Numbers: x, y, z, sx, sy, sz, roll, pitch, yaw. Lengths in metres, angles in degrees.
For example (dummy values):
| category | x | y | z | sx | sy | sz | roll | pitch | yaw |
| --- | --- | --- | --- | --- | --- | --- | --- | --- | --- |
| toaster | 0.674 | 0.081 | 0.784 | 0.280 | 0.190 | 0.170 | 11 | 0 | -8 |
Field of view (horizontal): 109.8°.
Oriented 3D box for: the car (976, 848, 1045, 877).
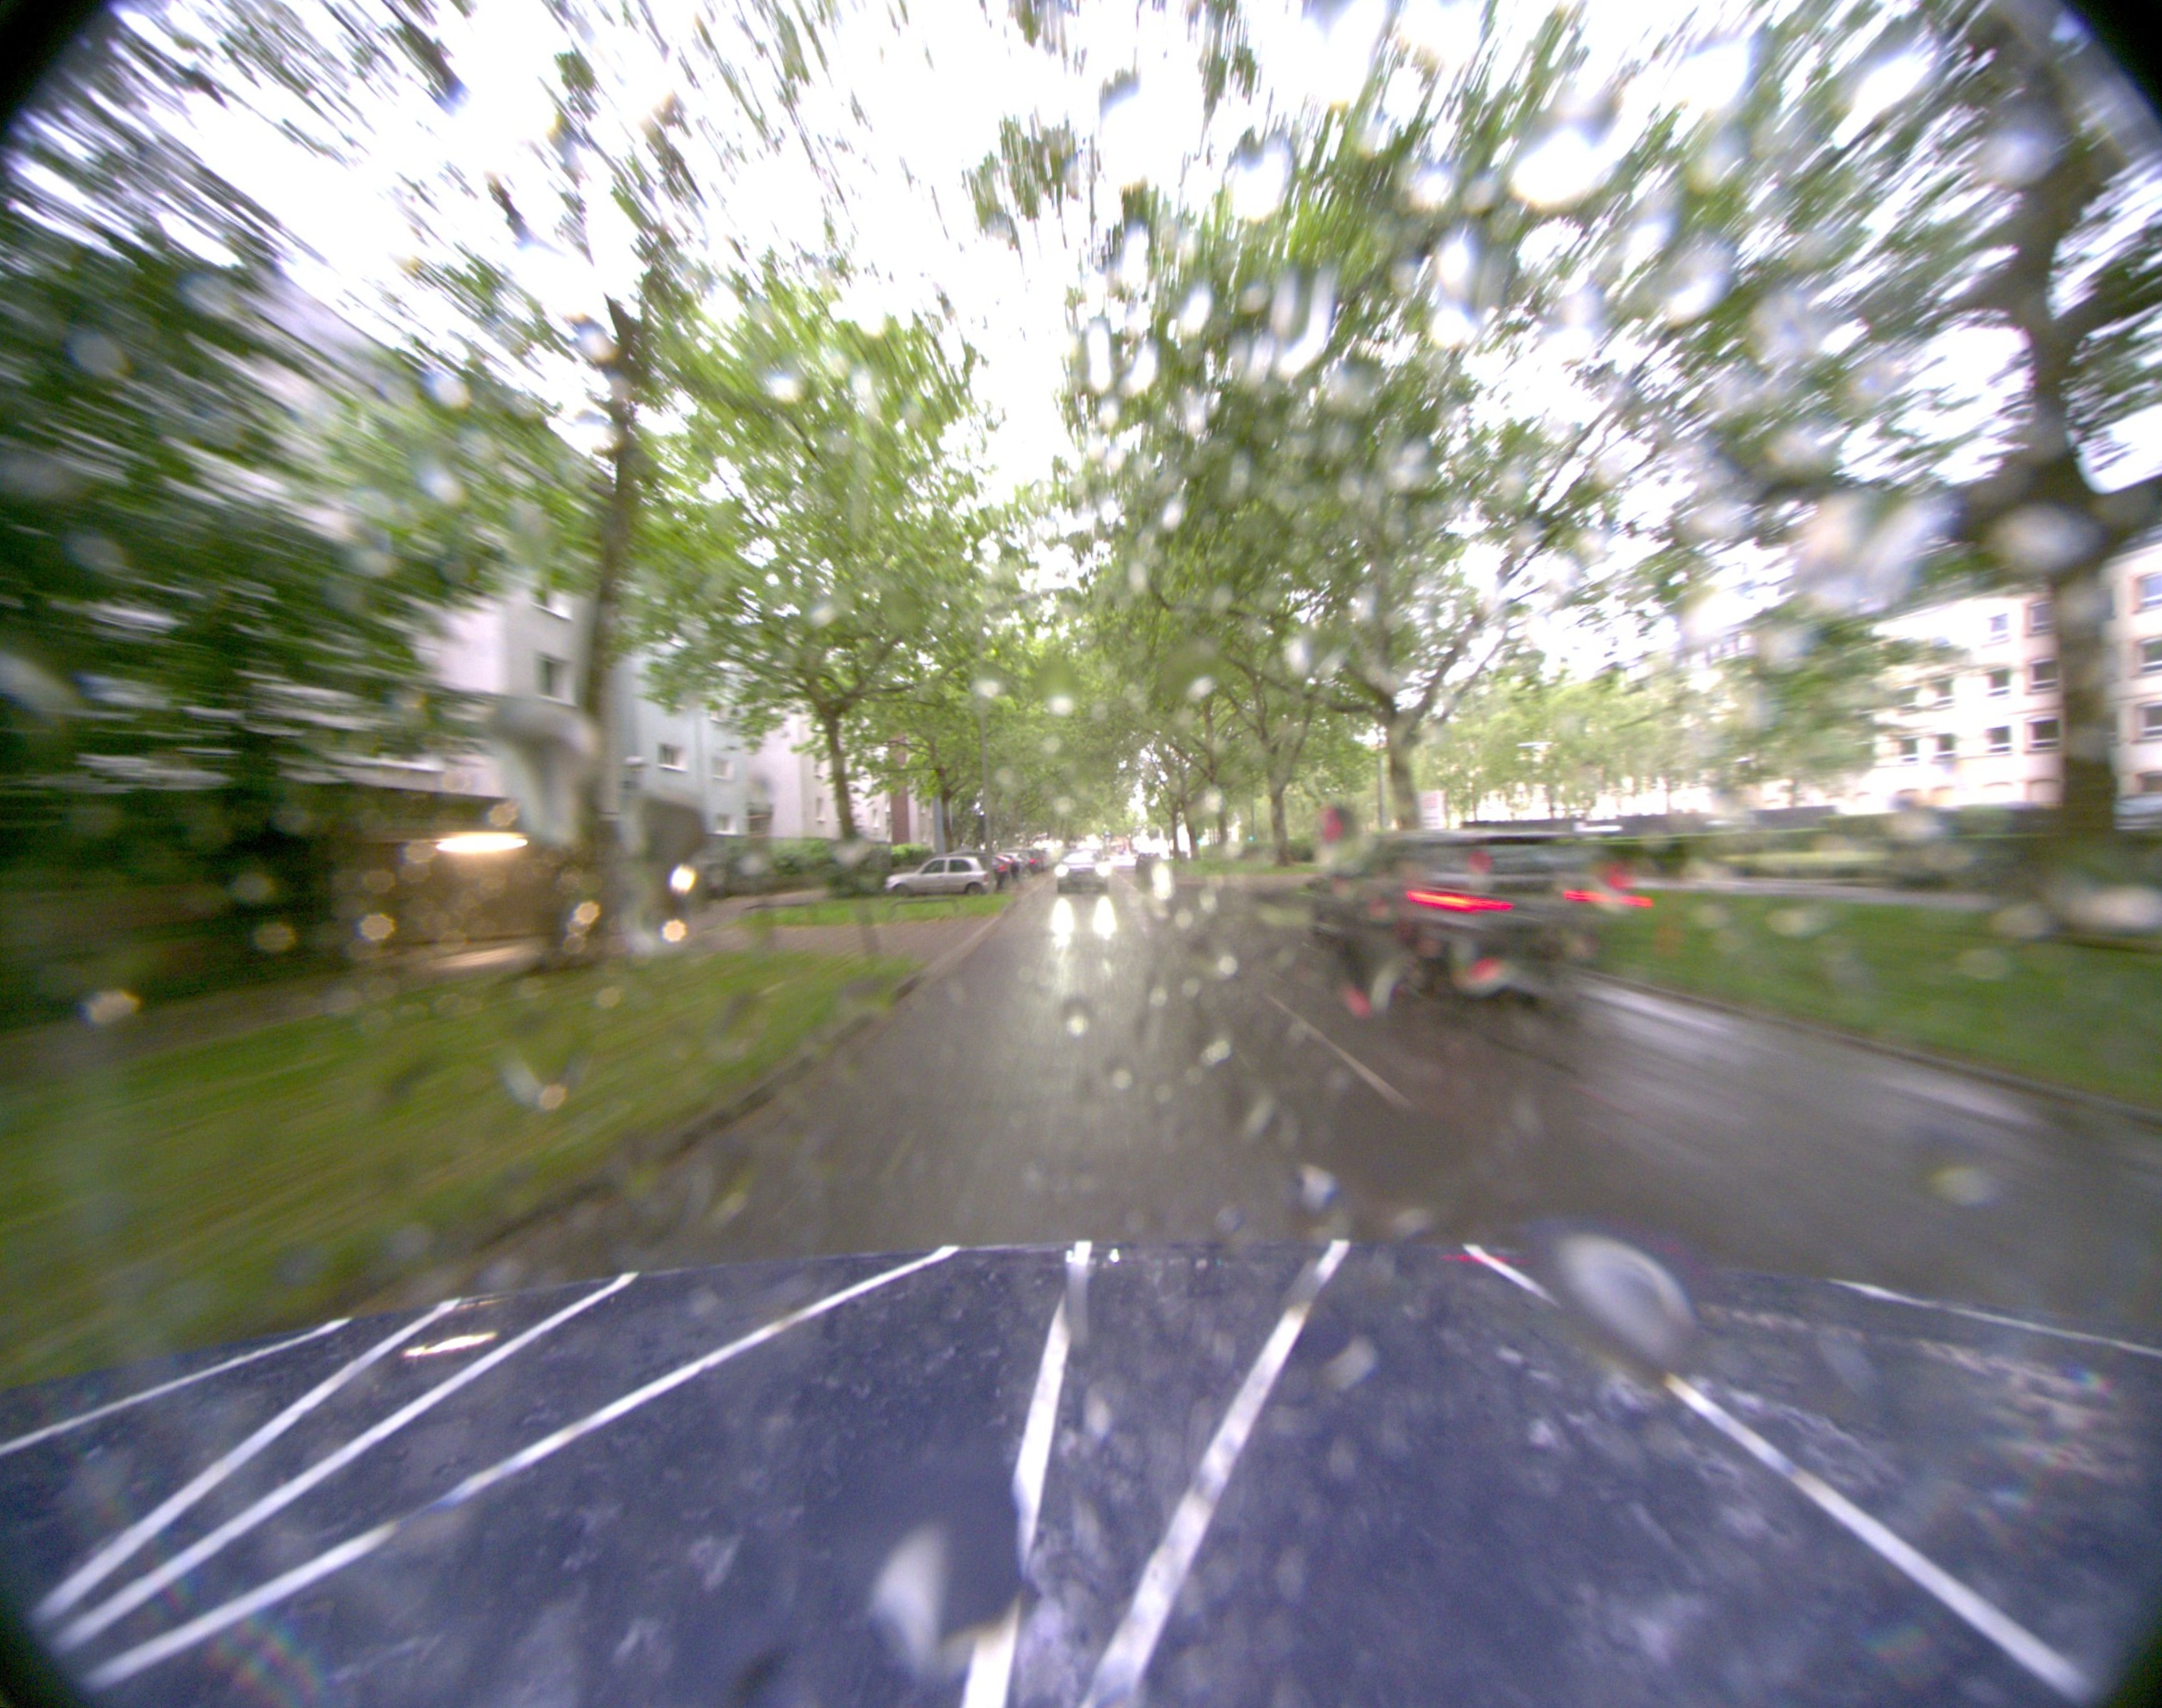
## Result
| category | x | y | z | sx | sy | sz | roll | pitch | yaw |
| --- | --- | --- | --- | --- | --- | --- | --- | --- | --- |
| car | -4.284 | 0.508 | 46.496 | 3.997 | 1.528 | 1.631 | -3 | 1 | 1 |

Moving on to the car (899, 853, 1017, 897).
| category | x | y | z | sx | sy | sz | roll | pitch | yaw |
| --- | --- | --- | --- | --- | --- | --- | --- | --- | --- |
| car | -4.441 | 0.746 | 27.869 | 3.997 | 1.429 | 1.679 | -2 | 1 | 1 |

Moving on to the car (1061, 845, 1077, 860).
| category | x | y | z | sx | sy | sz | roll | pitch | yaw |
| --- | --- | --- | --- | --- | --- | --- | --- | --- | --- |
| car | -1.481 | -0.162 | 95.621 | 1.920 | 1.611 | 4.452 | -3 | 2 | 0 |

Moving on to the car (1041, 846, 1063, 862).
| category | x | y | z | sx | sy | sz | roll | pitch | yaw |
| --- | --- | --- | --- | --- | --- | --- | --- | --- | --- |
| car | -3.246 | 0.004 | 83.635 | 1.693 | 1.643 | 2.942 | -4 | 0 | -15 |

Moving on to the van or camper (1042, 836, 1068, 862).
| category | x | y | z | sx | sy | sz | roll | pitch | yaw |
| --- | --- | --- | --- | --- | --- | --- | --- | --- | --- |
| van or camper | -2.998 | -0.612 | 89.547 | 2.324 | 2.791 | 6.864 | -3 | 1 | 3 |

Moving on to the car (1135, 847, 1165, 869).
| category | x | y | z | sx | sy | sz | roll | pitch | yaw |
| --- | --- | --- | --- | --- | --- | --- | --- | --- | --- |
| car | 4.568 | 0.228 | 50.821 | 1.683 | 1.380 | 4.549 | -2 | 0 | 1 |

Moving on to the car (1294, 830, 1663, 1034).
| category | x | y | z | sx | sy | sz | roll | pitch | yaw |
| --- | --- | --- | --- | --- | --- | --- | --- | --- | --- |
| car | 3.933 | 0.637 | 8.539 | 1.814 | 1.674 | 4.447 | -1 | 0 | 0 |

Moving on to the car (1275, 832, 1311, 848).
| category | x | y | z | sx | sy | sz | roll | pitch | yaw |
| --- | --- | --- | --- | --- | --- | --- | --- | --- | --- |
| car | 27.837 | -1.853 | 99.786 | 3.998 | 1.822 | 1.854 | -4 | 1 | -2 |

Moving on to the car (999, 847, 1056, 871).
| category | x | y | z | sx | sy | sz | roll | pitch | yaw |
| --- | --- | --- | --- | --- | --- | --- | --- | --- | --- |
| car | -3.883 | 0.343 | 55.482 | 3.997 | 1.504 | 1.801 | -4 | 1 | -1 |

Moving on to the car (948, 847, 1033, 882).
| category | x | y | z | sx | sy | sz | roll | pitch | yaw |
| --- | --- | --- | --- | --- | --- | --- | --- | --- | --- |
| car | -4.682 | 0.538 | 39.802 | 4.221 | 1.575 | 1.746 | -3 | 1 | -2 |

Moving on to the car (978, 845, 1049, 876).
| category | x | y | z | sx | sy | sz | roll | pitch | yaw |
| --- | --- | --- | --- | --- | --- | --- | --- | --- | --- |
| car | -4.347 | 0.396 | 49.378 | 4.348 | 1.752 | 1.818 | -3 | 1 | 1 |

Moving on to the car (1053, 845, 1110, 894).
| category | x | y | z | sx | sy | sz | roll | pitch | yaw |
| --- | --- | --- | --- | --- | --- | --- | --- | --- | --- |
| car | 0.088 | 0.524 | 29.000 | 1.961 | 1.702 | 4.174 | -2 | 1 | 2 |

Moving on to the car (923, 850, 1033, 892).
| category | x | y | z | sx | sy | sz | roll | pitch | yaw |
| --- | --- | --- | --- | --- | --- | --- | --- | --- | --- |
| car | -4.108 | 0.673 | 30.726 | 4.110 | 1.505 | 1.864 | -2 | 1 | 1 |

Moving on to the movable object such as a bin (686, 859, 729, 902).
| category | x | y | z | sx | sy | sz | roll | pitch | yaw |
| --- | --- | --- | --- | --- | --- | --- | --- | --- | --- |
| movable object such as a bin | -13.119 | 0.927 | 26.729 | 0.866 | 1.429 | 1.114 | -2 | 1 | 1 |

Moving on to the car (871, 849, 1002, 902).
| category | x | y | z | sx | sy | sz | roll | pitch | yaw |
| --- | --- | --- | --- | --- | --- | --- | --- | --- | --- |
| car | -4.758 | 0.679 | 25.400 | 3.997 | 1.569 | 1.679 | -2 | 1 | 1 |

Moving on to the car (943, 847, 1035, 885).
| category | x | y | z | sx | sy | sz | roll | pitch | yaw |
| --- | --- | --- | --- | --- | --- | --- | --- | --- | --- |
| car | -4.453 | 0.572 | 37.268 | 4.221 | 1.646 | 1.913 | -3 | 1 | 0 |

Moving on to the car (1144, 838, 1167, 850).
| category | x | y | z | sx | sy | sz | roll | pitch | yaw |
| --- | --- | --- | --- | --- | --- | --- | --- | --- | --- |
| car | 15.540 | -2.035 | 157.860 | 2.190 | 2.242 | 4.893 | -3 | 1 | 42 |

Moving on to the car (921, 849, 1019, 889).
| category | x | y | z | sx | sy | sz | roll | pitch | yaw |
| --- | --- | --- | --- | --- | --- | --- | --- | --- | --- |
| car | -4.879 | 0.650 | 33.806 | 4.052 | 1.521 | 1.780 | -3 | 1 | -2 |

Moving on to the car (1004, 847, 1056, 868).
| category | x | y | z | sx | sy | sz | roll | pitch | yaw |
| --- | --- | --- | --- | --- | --- | --- | --- | --- | --- |
| car | -3.870 | 0.269 | 58.181 | 3.712 | 1.528 | 1.738 | -1 | 1 | 4 |

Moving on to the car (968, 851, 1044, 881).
| category | x | y | z | sx | sy | sz | roll | pitch | yaw |
| --- | --- | --- | --- | --- | --- | --- | --- | --- | --- |
| car | -4.112 | 0.654 | 42.282 | 4.046 | 1.433 | 1.685 | -4 | 1 | -2 |

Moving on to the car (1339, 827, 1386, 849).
| category | x | y | z | sx | sy | sz | roll | pitch | yaw |
| --- | --- | --- | --- | --- | --- | --- | --- | --- | --- |
| car | 28.499 | -1.606 | 77.103 | 3.996 | 2.002 | 2.000 | -2 | 1 | 2 |

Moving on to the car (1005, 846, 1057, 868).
| category | x | y | z | sx | sy | sz | roll | pitch | yaw |
| --- | --- | --- | --- | --- | --- | --- | --- | --- | --- |
| car | -4.110 | 0.244 | 62.801 | 3.873 | 1.687 | 1.834 | -1 | -1 | -27 |

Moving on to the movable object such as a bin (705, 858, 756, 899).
| category | x | y | z | sx | sy | sz | roll | pitch | yaw |
| --- | --- | --- | --- | --- | --- | --- | --- | --- | --- |
| movable object such as a bin | -12.995 | 0.910 | 28.223 | 1.206 | 1.429 | 1.345 | -2 | 1 | 1 |
